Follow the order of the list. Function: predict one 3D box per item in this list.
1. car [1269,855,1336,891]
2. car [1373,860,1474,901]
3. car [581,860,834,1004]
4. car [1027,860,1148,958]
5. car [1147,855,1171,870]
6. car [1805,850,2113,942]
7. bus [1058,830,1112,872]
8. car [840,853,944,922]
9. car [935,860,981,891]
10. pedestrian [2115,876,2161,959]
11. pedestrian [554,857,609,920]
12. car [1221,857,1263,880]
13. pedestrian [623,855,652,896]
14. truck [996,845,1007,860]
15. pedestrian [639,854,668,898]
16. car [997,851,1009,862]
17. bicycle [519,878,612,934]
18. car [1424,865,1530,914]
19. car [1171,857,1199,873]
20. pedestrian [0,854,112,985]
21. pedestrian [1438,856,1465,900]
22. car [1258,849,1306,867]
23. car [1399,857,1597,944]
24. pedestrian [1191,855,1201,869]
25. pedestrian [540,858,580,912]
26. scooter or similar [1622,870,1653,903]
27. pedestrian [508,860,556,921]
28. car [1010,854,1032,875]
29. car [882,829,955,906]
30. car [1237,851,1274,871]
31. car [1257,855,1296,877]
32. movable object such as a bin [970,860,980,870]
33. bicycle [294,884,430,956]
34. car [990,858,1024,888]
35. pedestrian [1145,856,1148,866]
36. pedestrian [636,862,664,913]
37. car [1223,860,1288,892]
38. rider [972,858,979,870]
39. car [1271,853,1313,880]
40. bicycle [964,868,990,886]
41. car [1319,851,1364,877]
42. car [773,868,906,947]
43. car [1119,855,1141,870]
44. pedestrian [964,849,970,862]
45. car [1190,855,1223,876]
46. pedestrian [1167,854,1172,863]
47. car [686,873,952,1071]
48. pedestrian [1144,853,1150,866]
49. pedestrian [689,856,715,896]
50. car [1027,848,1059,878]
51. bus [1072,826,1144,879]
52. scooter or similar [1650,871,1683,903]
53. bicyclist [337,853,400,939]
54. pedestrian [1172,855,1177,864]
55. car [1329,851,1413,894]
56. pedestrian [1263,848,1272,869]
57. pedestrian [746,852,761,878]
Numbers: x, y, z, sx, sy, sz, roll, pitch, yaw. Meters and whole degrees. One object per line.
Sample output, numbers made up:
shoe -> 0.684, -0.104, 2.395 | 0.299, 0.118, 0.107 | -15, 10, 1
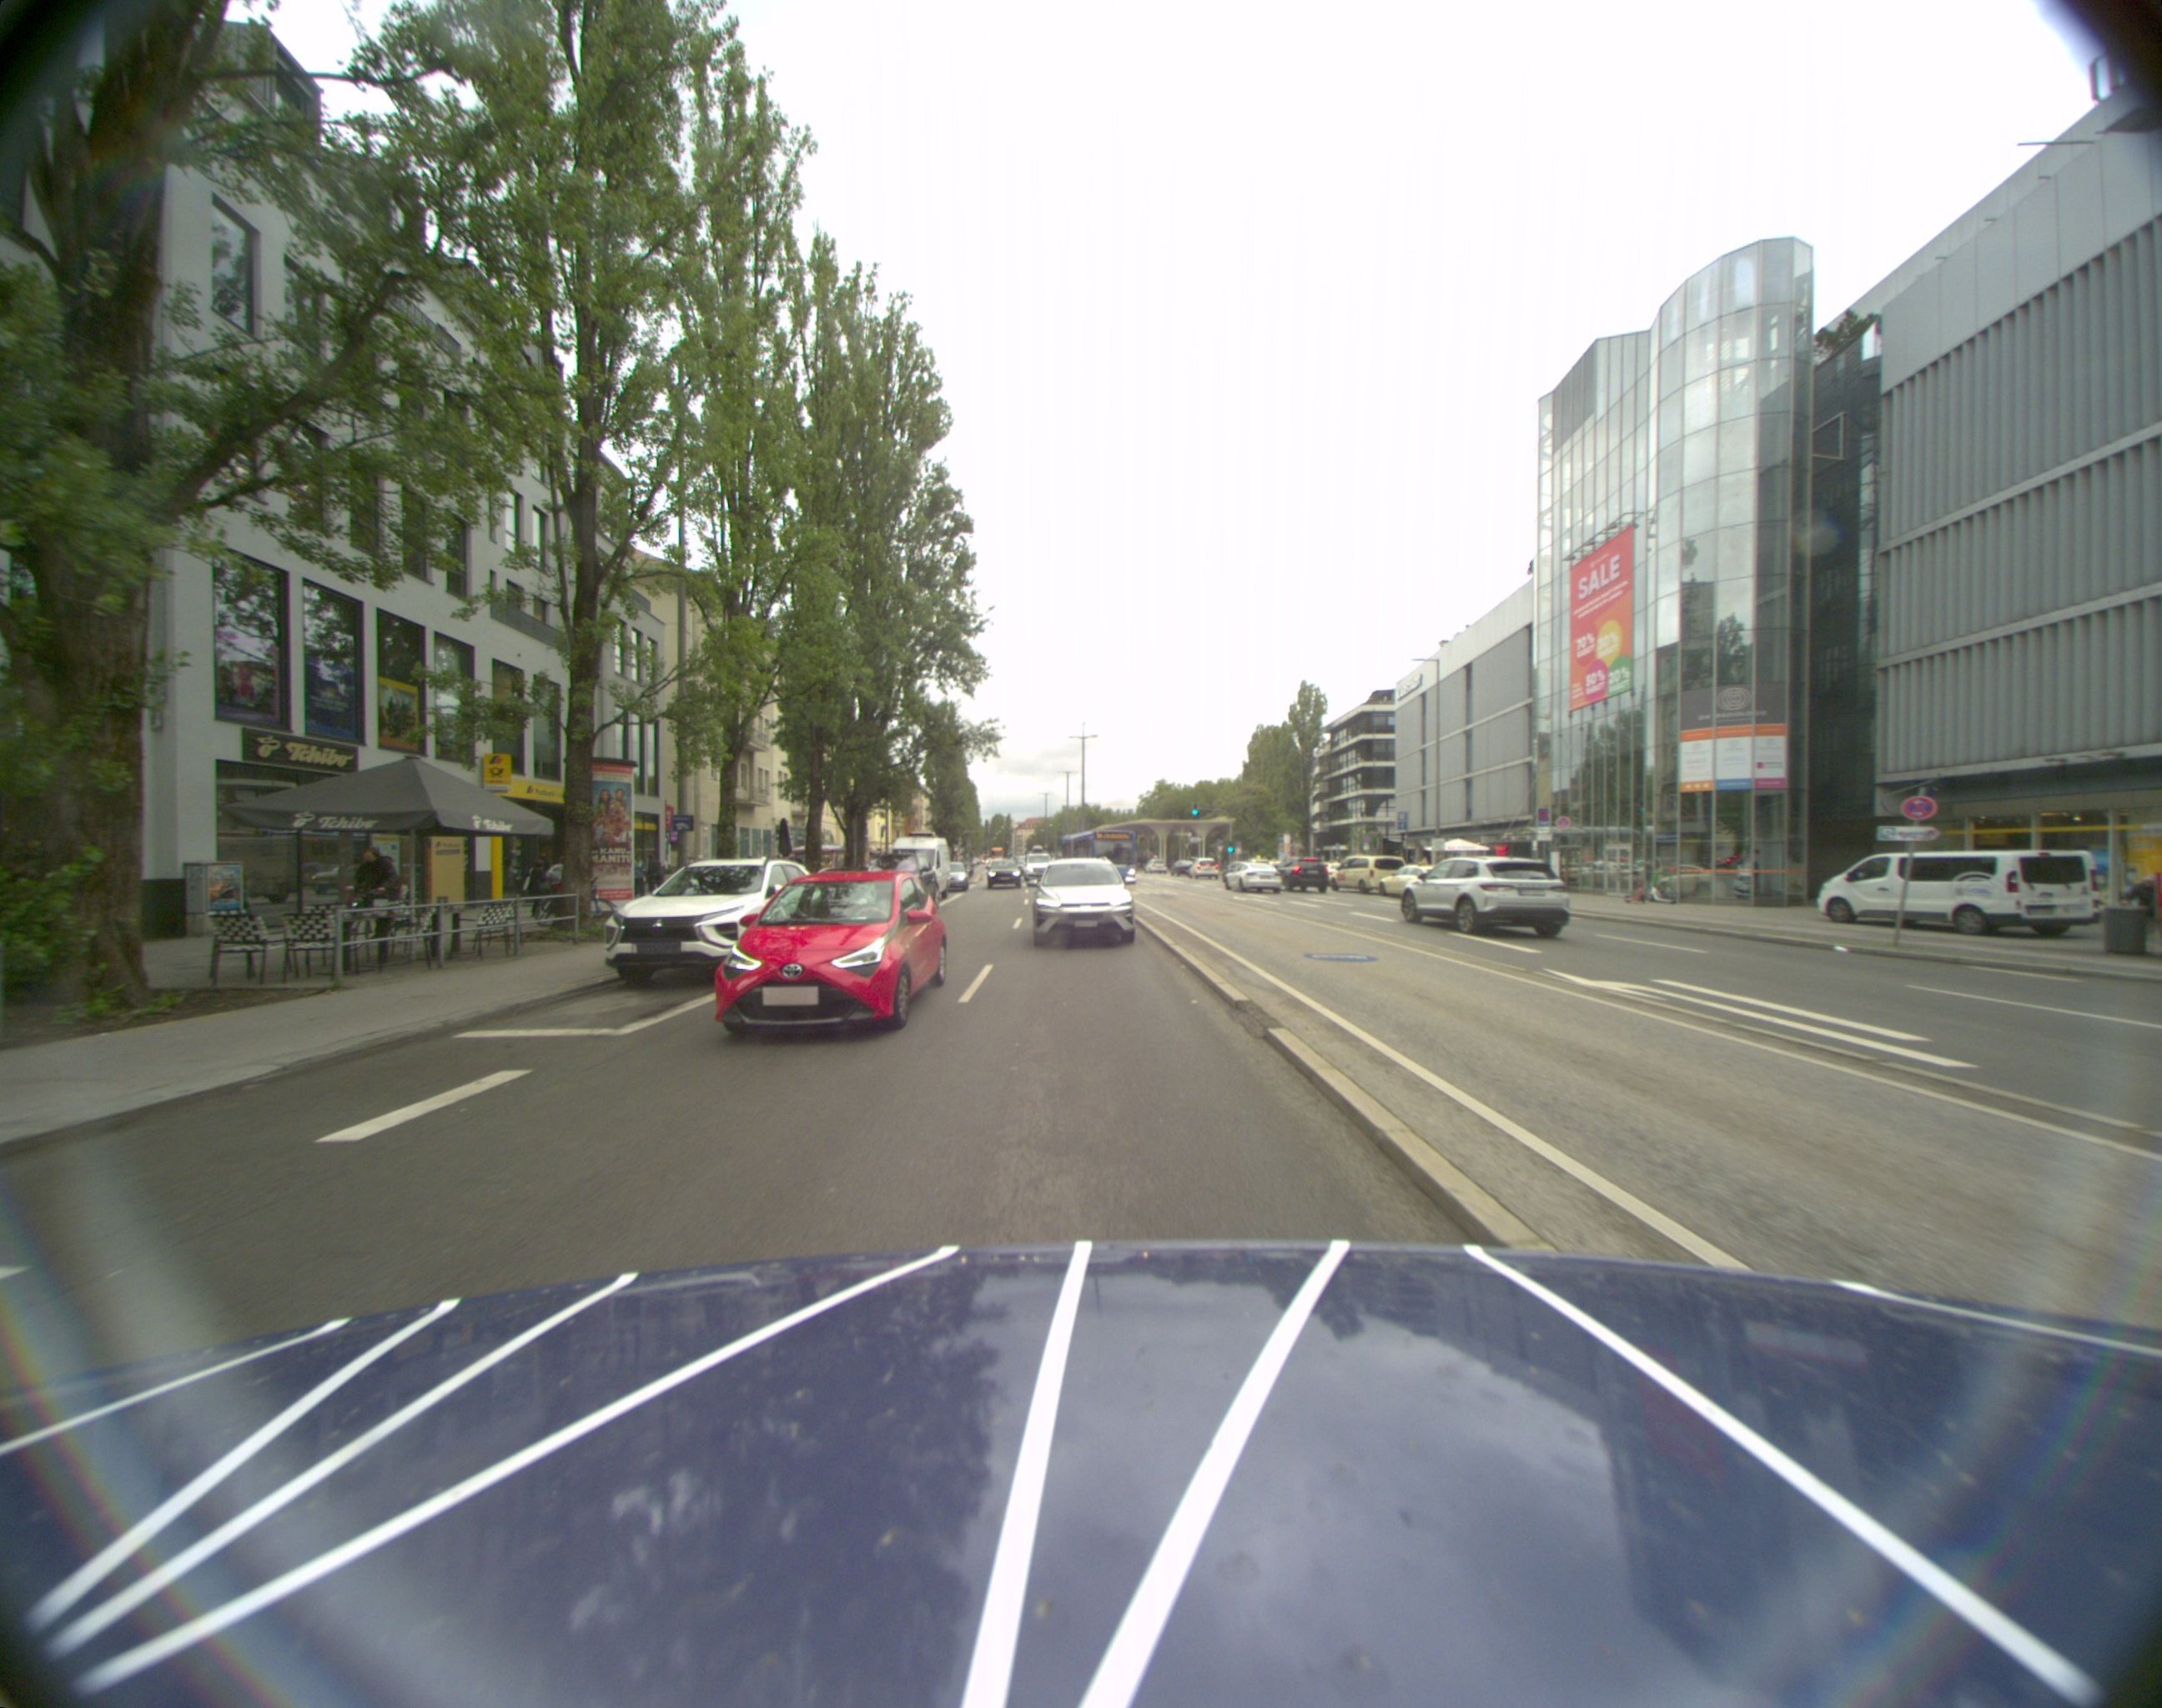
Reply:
car -> 11.275, 0.913, 39.029 | 2.023, 1.706, 4.982 | 0, 0, 0
car -> 14.634, 1.079, 32.871 | 1.983, 1.543, 5.085 | 0, 0, -1
car -> -5.250, 0.961, 11.437 | 1.732, 1.676, 4.407 | -1, 0, -2
car -> -0.023, 0.915, 14.470 | 1.897, 1.483, 3.997 | -2, 1, -5
car -> 8.374, 0.910, 82.110 | 1.999, 1.591, 4.288 | 0, 0, -3
car -> 21.526, 0.911, 19.089 | 1.998, 2.002, 5.113 | 0, 0, 3
bus -> 0.138, -0.296, 59.879 | 2.943, 2.927, 11.205 | -1, 1, -6
car -> -5.475, 0.892, 22.689 | 1.934, 1.794, 4.778 | -1, 0, -1
car -> -6.274, 1.066, 39.152 | 1.730, 1.445, 4.146 | -2, 0, -2
pedestrian -> 19.847, 1.163, 14.051 | 0.546, 1.486, 0.655 | 0, 1, -1
pedestrian -> -13.153, 0.886, 20.045 | 0.802, 1.627, 1.023 | 0, 0, -4
car -> 10.772, 0.970, 51.092 | 1.788, 1.457, 3.999 | 1, 0, -2
pedestrian -> -17.045, 0.818, 29.202 | 0.693, 1.576, 0.772 | 0, 0, -6
truck -> -18.275, -0.303, 175.069 | 2.542, 3.468, 7.747 | 0, 0, -6
pedestrian -> -16.075, 0.802, 28.605 | 0.693, 1.639, 0.797 | 0, 0, -6
car -> -13.047, 0.376, 127.150 | 1.859, 1.696, 3.997 | 1, 0, -6
bicycle -> -11.409, 1.135, 16.848 | 1.511, 1.132, 0.894 | 1, 1, 12
car -> 13.981, 1.173, 27.173 | 1.860, 1.461, 4.986 | 2, 0, 9
car -> 9.464, 0.963, 69.223 | 1.734, 1.401, 4.686 | 0, 0, -2
pedestrian -> -13.984, 0.856, 10.321 | 0.670, 1.715, 0.768 | 0, 1, -13
pedestrian -> 16.061, 1.045, 32.971 | 0.787, 1.856, 0.847 | 2, 2, 9
car -> 17.426, 0.315, 66.017 | 1.861, 1.502, 4.291 | 0, 0, -20
car -> 8.785, 0.890, 16.521 | 1.914, 1.594, 4.355 | 0, 0, 0
pedestrian -> 12.299, 0.865, 81.203 | 0.640, 1.542, 0.759 | -2, 2, -31
pedestrian -> -15.177, 0.891, 22.147 | 0.684, 1.549, 0.750 | 0, 1, -4
scooter or similar -> 21.029, 1.217, 28.721 | 0.255, 1.217, 0.996 | 0, 1, -13
pedestrian -> -14.165, 0.926, 19.620 | 0.684, 1.549, 0.750 | 0, 0, -4
car -> -5.528, 0.921, 69.673 | 1.874, 1.760, 4.233 | -2, 1, -6
car -> -6.296, 0.448, 30.157 | 1.999, 2.726, 5.551 | -2, 1, -4
car -> 14.384, 0.590, 62.985 | 1.592, 1.602, 4.474 | 0, 0, -6
car -> 14.433, 0.863, 56.284 | 1.950, 1.531, 4.849 | 0, 0, 4
movable object such as a bin -> -11.762, 1.220, 84.495 | 1.090, 1.056, 0.747 | 2, 1, -9
bicycle -> -12.192, 1.087, 12.970 | 0.591, 1.057, 1.804 | 0, 0, 1
car -> -4.035, 0.989, 41.285 | 1.741, 1.461, 4.048 | -1, 0, -6
pedestrian -> 9.795, 1.055, 113.883 | 0.320, 1.493, 0.317 | 0, 1, -15
pedestrian -> -11.680, 0.904, 20.585 | 0.597, 1.334, 0.391 | -2, 2, -27
car -> 8.303, 1.010, 36.634 | 1.804, 1.386, 4.689 | 0, 0, -3
rider -> -11.778, 1.096, 84.508 | 0.732, 1.234, 0.732 | 2, 1, -9
car -> 13.998, 0.781, 50.592 | 1.889, 1.688, 4.384 | 1, 0, 5
bicycle -> -6.670, 1.460, 48.755 | 1.572, 1.048, 0.548 | -4, -1, 32
car -> 16.377, 0.595, 47.974 | 1.775, 1.607, 4.002 | 0, 0, 6
car -> -5.331, 1.107, 17.419 | 1.776, 1.425, 4.569 | -2, 0, -3
car -> 5.465, 0.949, 84.551 | 1.822, 1.536, 3.998 | 2, 0, -4
pedestrian -> -16.253, 0.259, 108.119 | 0.732, 1.792, 0.709 | 0, 2, -15
car -> 9.754, 0.871, 59.256 | 1.958, 1.580, 4.000 | 0, 0, 1
pedestrian -> 13.109, 0.700, 112.504 | 0.550, 1.330, 0.591 | 0, 0, -7
car -> -2.447, 1.012, 8.035 | 1.670, 1.438, 3.594 | -1, 1, -3
pedestrian -> 9.496, 0.790, 109.717 | 0.666, 1.840, 0.789 | 0, 0, 14
pedestrian -> -16.455, 0.952, 33.001 | 0.719, 1.714, 0.741 | 1, 1, 32
car -> -2.669, 0.561, 52.323 | 1.999, 1.889, 4.233 | -2, 1, -6
bus -> 1.452, -0.173, 48.115 | 2.943, 2.927, 11.205 | -1, 1, -6
scooter or similar -> 21.990, 1.225, 28.553 | 0.255, 1.166, 0.996 | 0, 1, -19
bicyclist -> -12.156, 0.710, 12.975 | 0.640, 1.440, 0.440 | 0, 1, 1
pedestrian -> 13.894, 0.812, 112.960 | 0.550, 1.330, 0.591 | 0, 0, -7
car -> 14.533, 0.856, 38.453 | 1.999, 2.002, 5.319 | 1, 0, -3
pedestrian -> 15.937, 0.382, 64.922 | 0.525, 1.719, 0.428 | -2, 1, -6
pedestrian -> -20.522, 0.703, 47.614 | 0.602, 1.641, 0.765 | 0, 0, -3
